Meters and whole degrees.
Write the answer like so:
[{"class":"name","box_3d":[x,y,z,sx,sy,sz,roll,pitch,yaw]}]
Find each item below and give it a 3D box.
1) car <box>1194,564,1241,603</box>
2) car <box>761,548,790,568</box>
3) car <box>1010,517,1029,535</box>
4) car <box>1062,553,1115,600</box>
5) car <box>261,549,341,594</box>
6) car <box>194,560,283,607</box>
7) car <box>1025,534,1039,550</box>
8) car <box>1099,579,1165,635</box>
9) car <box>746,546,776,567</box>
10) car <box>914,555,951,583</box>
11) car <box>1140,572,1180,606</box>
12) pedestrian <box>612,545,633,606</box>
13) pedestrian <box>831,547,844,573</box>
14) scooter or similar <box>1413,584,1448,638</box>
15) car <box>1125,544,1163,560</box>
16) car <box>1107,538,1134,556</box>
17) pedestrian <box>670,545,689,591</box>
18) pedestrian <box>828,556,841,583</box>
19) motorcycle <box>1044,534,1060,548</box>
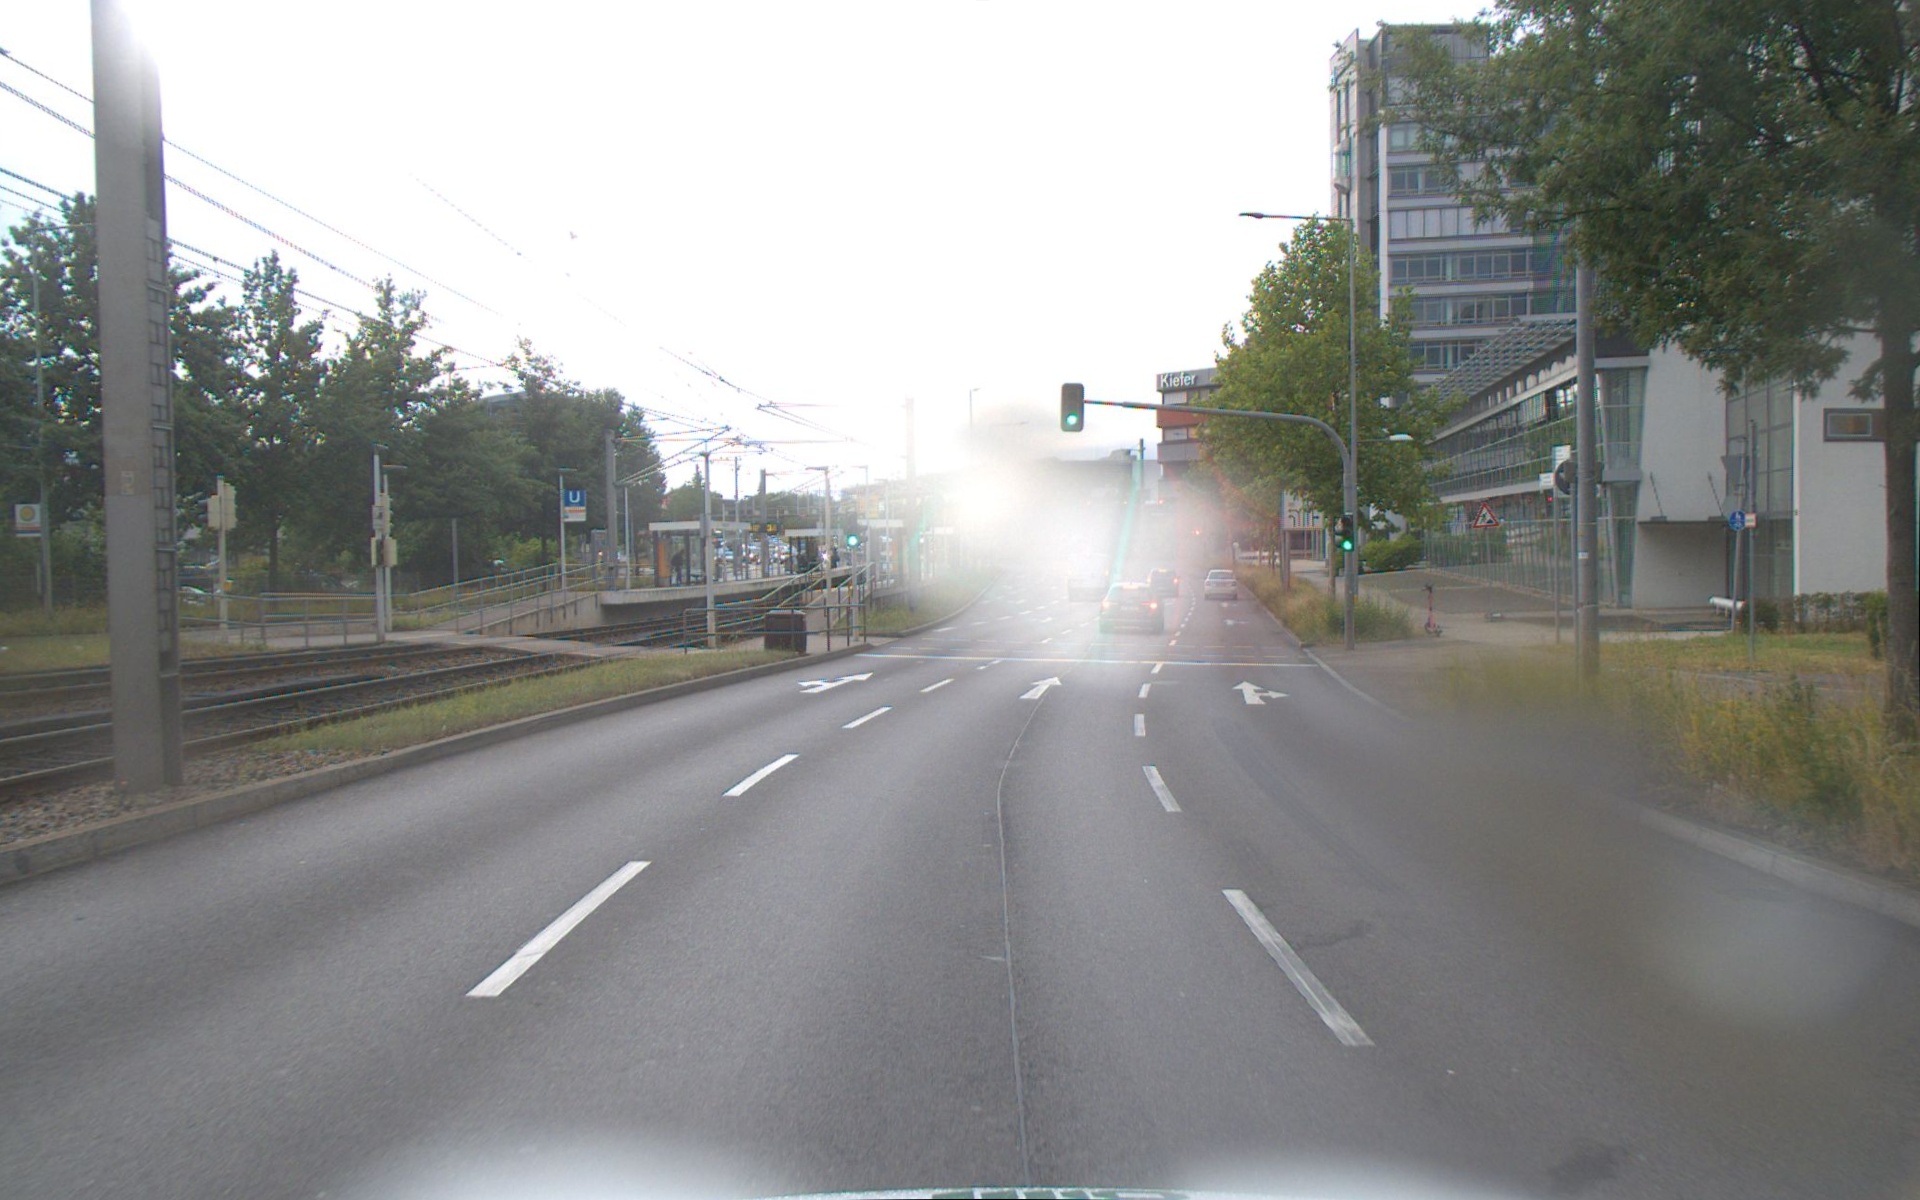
[{"class":"car","box_3d":[12.993,-0.861,83.654,1.979,1.800,4.003,0,2,4]},{"class":"car","box_3d":[-20.467,-4.620,183.261,1.970,2.049,3.964,1,-2,-27]},{"class":"car","box_3d":[7.892,-9.802,219.996,1.955,2.049,3.993,0,-1,-7]},{"class":"car","box_3d":[6.284,-1.167,80.447,2.458,2.215,5.153,0,1,5]},{"class":"car","box_3d":[-32.104,-1.363,80.686,1.951,2.049,4.003,0,-1,6]},{"class":"car","box_3d":[-32.839,-0.721,75.397,1.951,2.049,4.003,0,-1,6]},{"class":"car","box_3d":[10.277,-8.312,235.523,1.781,2.049,3.469,0,-1,-1]},{"class":"car","box_3d":[5.096,0.166,48.642,1.726,1.488,4.631,1,1,8]},{"class":"car","box_3d":[-21.726,-4.698,180.300,1.970,2.049,3.964,1,-2,-27]},{"class":"car","box_3d":[-1.672,-1.931,102.468,1.952,1.477,3.851,0,4,4]},{"class":"car","box_3d":[10.441,-0.544,86.440,1.978,1.652,4.002,0,-1,5]},{"class":"pedestrian","box_3d":[-11.095,-0.803,54.346,0.537,1.987,0.664,1,-2,0]},{"class":"pedestrian","box_3d":[-8.670,-2.809,117.003,0.736,1.782,0.764,0,-2,4]},{"class":"scooter or similar","box_3d":[11.664,0.265,41.040,0.448,1.285,1.337,-3,0,1]},{"class":"car","box_3d":[20.147,-5.251,181.333,2.006,1.651,3.949,0,1,-36]},{"class":"car","box_3d":[20.722,-6.838,213.575,1.965,2.049,3.975,1,-1,-21]},{"class":"pedestrian","box_3d":[-11.799,-1.338,69.553,0.624,1.887,0.751,0,-2,3]},{"class":"pedestrian","box_3d":[-8.408,-2.041,110.637,0.714,1.745,0.832,0,0,5]},{"class":"motorcycle","box_3d":[14.417,-9.236,259.012,1.955,2.049,3.994,1,-1,-6]}]
